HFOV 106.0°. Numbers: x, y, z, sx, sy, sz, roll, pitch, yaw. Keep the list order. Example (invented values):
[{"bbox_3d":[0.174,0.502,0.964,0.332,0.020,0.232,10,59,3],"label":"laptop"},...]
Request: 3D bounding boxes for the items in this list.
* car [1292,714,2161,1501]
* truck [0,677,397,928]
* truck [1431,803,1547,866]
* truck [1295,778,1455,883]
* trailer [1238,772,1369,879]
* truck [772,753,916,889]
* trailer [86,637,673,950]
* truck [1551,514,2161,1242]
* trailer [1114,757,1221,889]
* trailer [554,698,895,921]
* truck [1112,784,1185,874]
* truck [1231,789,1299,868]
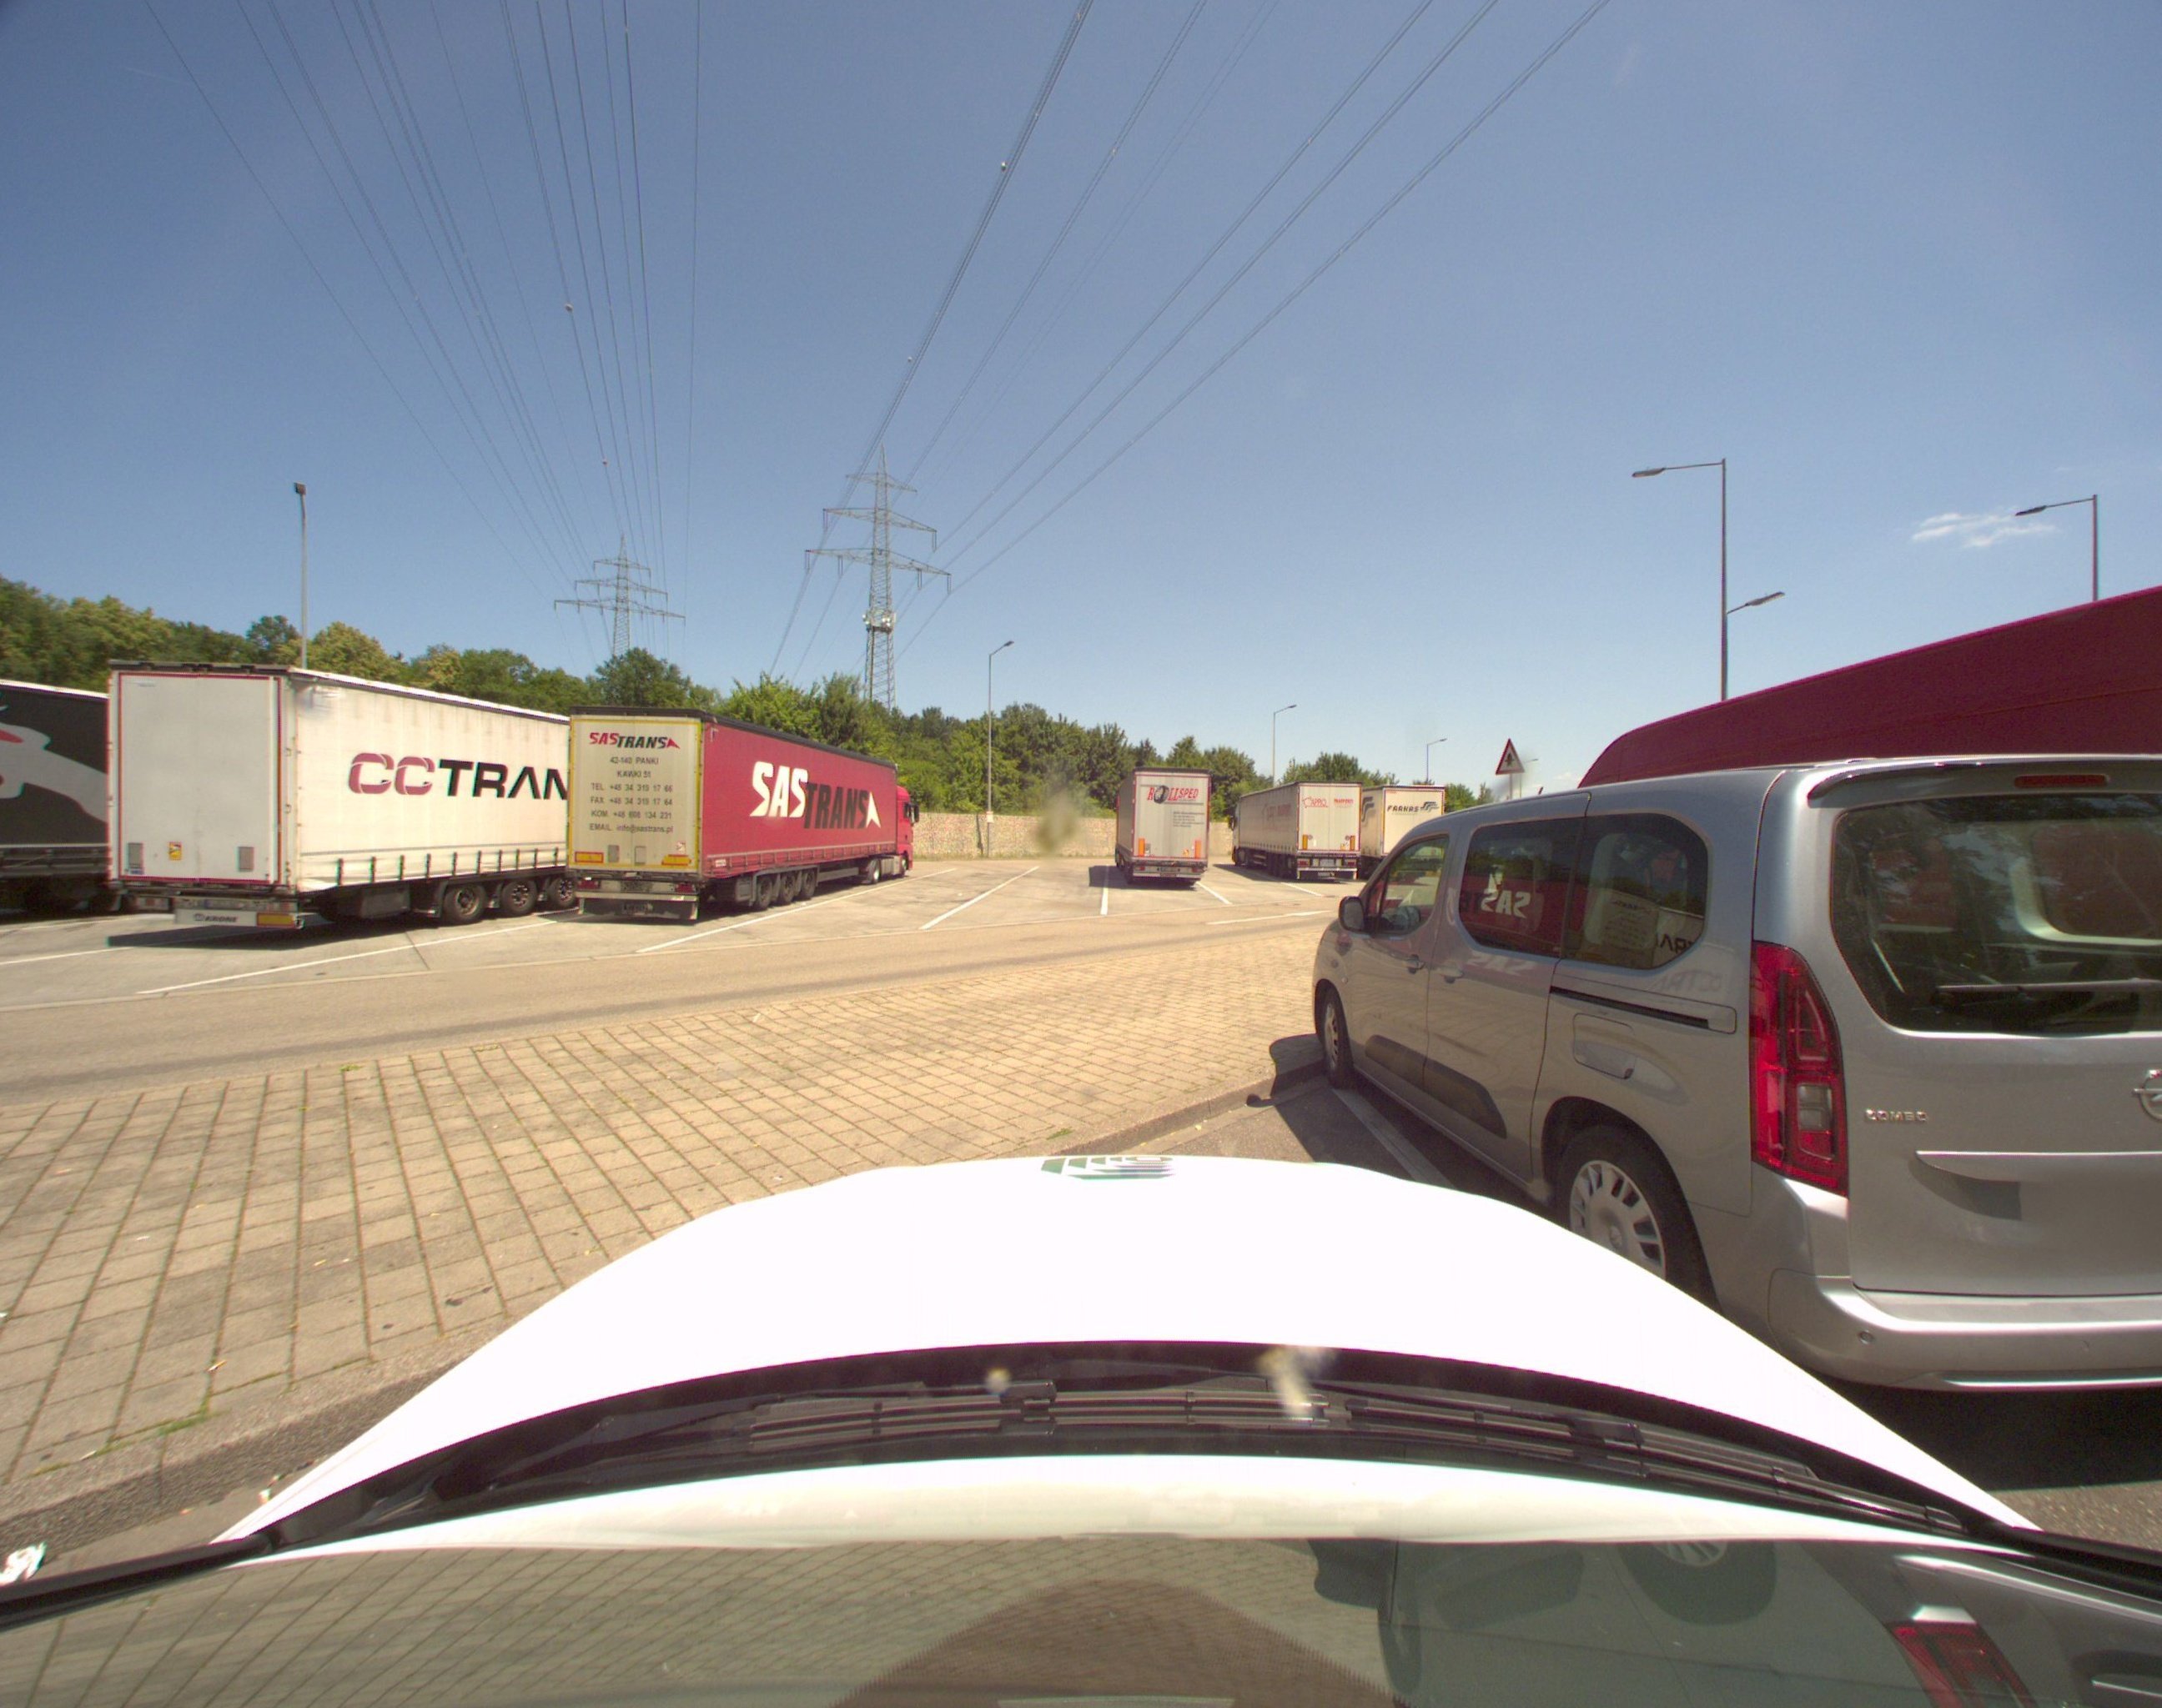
[{"bbox_3d":[2.471,0.528,3.848,1.821,1.753,3.998,-1,1,-2],"label":"car"},{"bbox_3d":[-18.511,-0.857,15.964,2.627,4.018,8.640,-1,1,2],"label":"truck"},{"bbox_3d":[24.464,-1.136,49.432,3.013,3.437,8.534,-1,1,2],"label":"truck"},{"bbox_3d":[13.577,-1.063,39.651,2.894,4.124,14.533,2,1,2],"label":"truck"},{"bbox_3d":[9.941,-1.204,38.406,2.865,4.124,13.577,0,1,2],"label":"trailer"},{"bbox_3d":[-7.838,-1.054,28.013,2.733,4.081,6.832,-1,1,1],"label":"truck"},{"bbox_3d":[-12.098,-0.897,16.070,2.734,4.263,9.740,-1,1,3],"label":"trailer"},{"bbox_3d":[5.100,0.049,4.870,1.983,2.623,5.312,-1,1,6],"label":"truck"},{"bbox_3d":[3.047,-1.192,32.736,3.059,4.227,12.811,1,2,1],"label":"trailer"},{"bbox_3d":[-8.044,-0.921,21.550,2.739,4.057,13.292,-1,1,2],"label":"trailer"},{"bbox_3d":[3.129,-1.226,39.508,3.016,3.928,6.848,1,2,1],"label":"truck"},{"bbox_3d":[10.130,-1.374,45.410,2.747,4.124,5.286,-1,1,2],"label":"truck"}]
